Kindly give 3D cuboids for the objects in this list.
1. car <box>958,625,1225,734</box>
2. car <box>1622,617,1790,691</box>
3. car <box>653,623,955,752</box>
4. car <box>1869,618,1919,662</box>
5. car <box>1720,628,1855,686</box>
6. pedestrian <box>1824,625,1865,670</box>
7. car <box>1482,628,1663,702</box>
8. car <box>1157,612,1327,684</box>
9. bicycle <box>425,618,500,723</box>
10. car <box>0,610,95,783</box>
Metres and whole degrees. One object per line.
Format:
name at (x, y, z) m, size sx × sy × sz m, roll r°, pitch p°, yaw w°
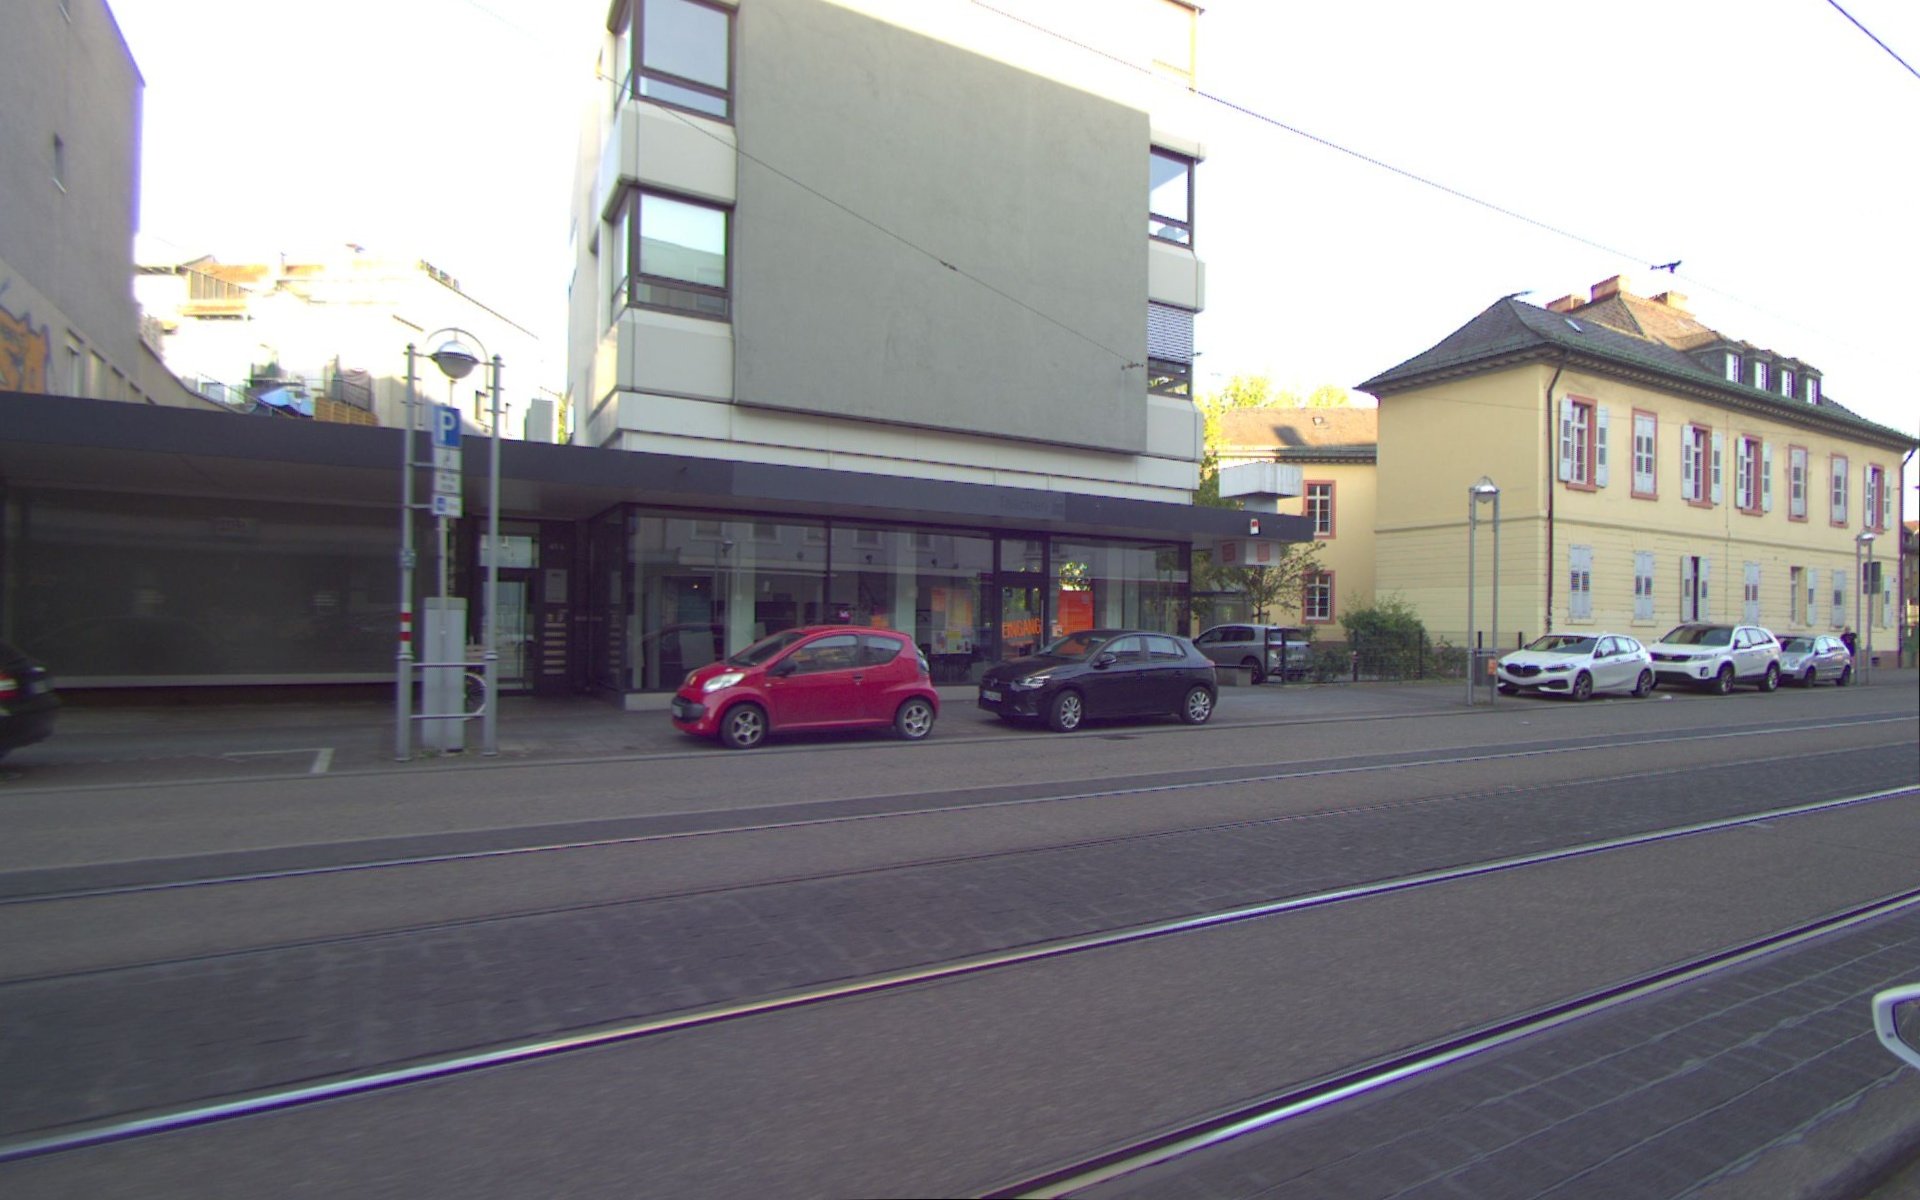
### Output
car at (2.081, 1.152, 15.654) m, size 3.919 × 1.444 × 1.683 m, roll 1°, pitch 1°, yaw -30°
car at (19.182, 1.335, 25.771) m, size 4.709 × 1.683 × 1.876 m, roll 1°, pitch 1°, yaw -32°
car at (-2.017, 1.051, 13.137) m, size 3.550 × 1.453 × 1.683 m, roll 1°, pitch -1°, yaw -30°
car at (45.656, 1.906, 47.461) m, size 3.946 × 2.040 × 1.988 m, roll -1°, pitch -2°, yaw 44°
car at (23.749, 1.589, 28.815) m, size 3.953 × 1.494 × 1.739 m, roll 1°, pitch 1°, yaw -31°
pedestrian at (31.587, 1.696, 35.870) m, size 0.866 × 1.562 × 0.796 m, roll 2°, pitch 0°, yaw -28°
car at (13.939, 1.414, 22.806) m, size 4.234 × 1.472 × 1.712 m, roll 1°, pitch 1°, yaw -31°
car at (7.140, 1.164, 25.777) m, size 1.893 × 1.574 × 3.965 m, roll 2°, pitch 0°, yaw -32°
bicycle at (-7.357, 0.994, 14.805) m, size 0.865 × 1.358 × 2.037 m, roll 2°, pitch 0°, yaw -29°
car at (-10.200, 0.804, 8.495) m, size 4.042 × 1.480 × 1.782 m, roll 1°, pitch -2°, yaw -29°
